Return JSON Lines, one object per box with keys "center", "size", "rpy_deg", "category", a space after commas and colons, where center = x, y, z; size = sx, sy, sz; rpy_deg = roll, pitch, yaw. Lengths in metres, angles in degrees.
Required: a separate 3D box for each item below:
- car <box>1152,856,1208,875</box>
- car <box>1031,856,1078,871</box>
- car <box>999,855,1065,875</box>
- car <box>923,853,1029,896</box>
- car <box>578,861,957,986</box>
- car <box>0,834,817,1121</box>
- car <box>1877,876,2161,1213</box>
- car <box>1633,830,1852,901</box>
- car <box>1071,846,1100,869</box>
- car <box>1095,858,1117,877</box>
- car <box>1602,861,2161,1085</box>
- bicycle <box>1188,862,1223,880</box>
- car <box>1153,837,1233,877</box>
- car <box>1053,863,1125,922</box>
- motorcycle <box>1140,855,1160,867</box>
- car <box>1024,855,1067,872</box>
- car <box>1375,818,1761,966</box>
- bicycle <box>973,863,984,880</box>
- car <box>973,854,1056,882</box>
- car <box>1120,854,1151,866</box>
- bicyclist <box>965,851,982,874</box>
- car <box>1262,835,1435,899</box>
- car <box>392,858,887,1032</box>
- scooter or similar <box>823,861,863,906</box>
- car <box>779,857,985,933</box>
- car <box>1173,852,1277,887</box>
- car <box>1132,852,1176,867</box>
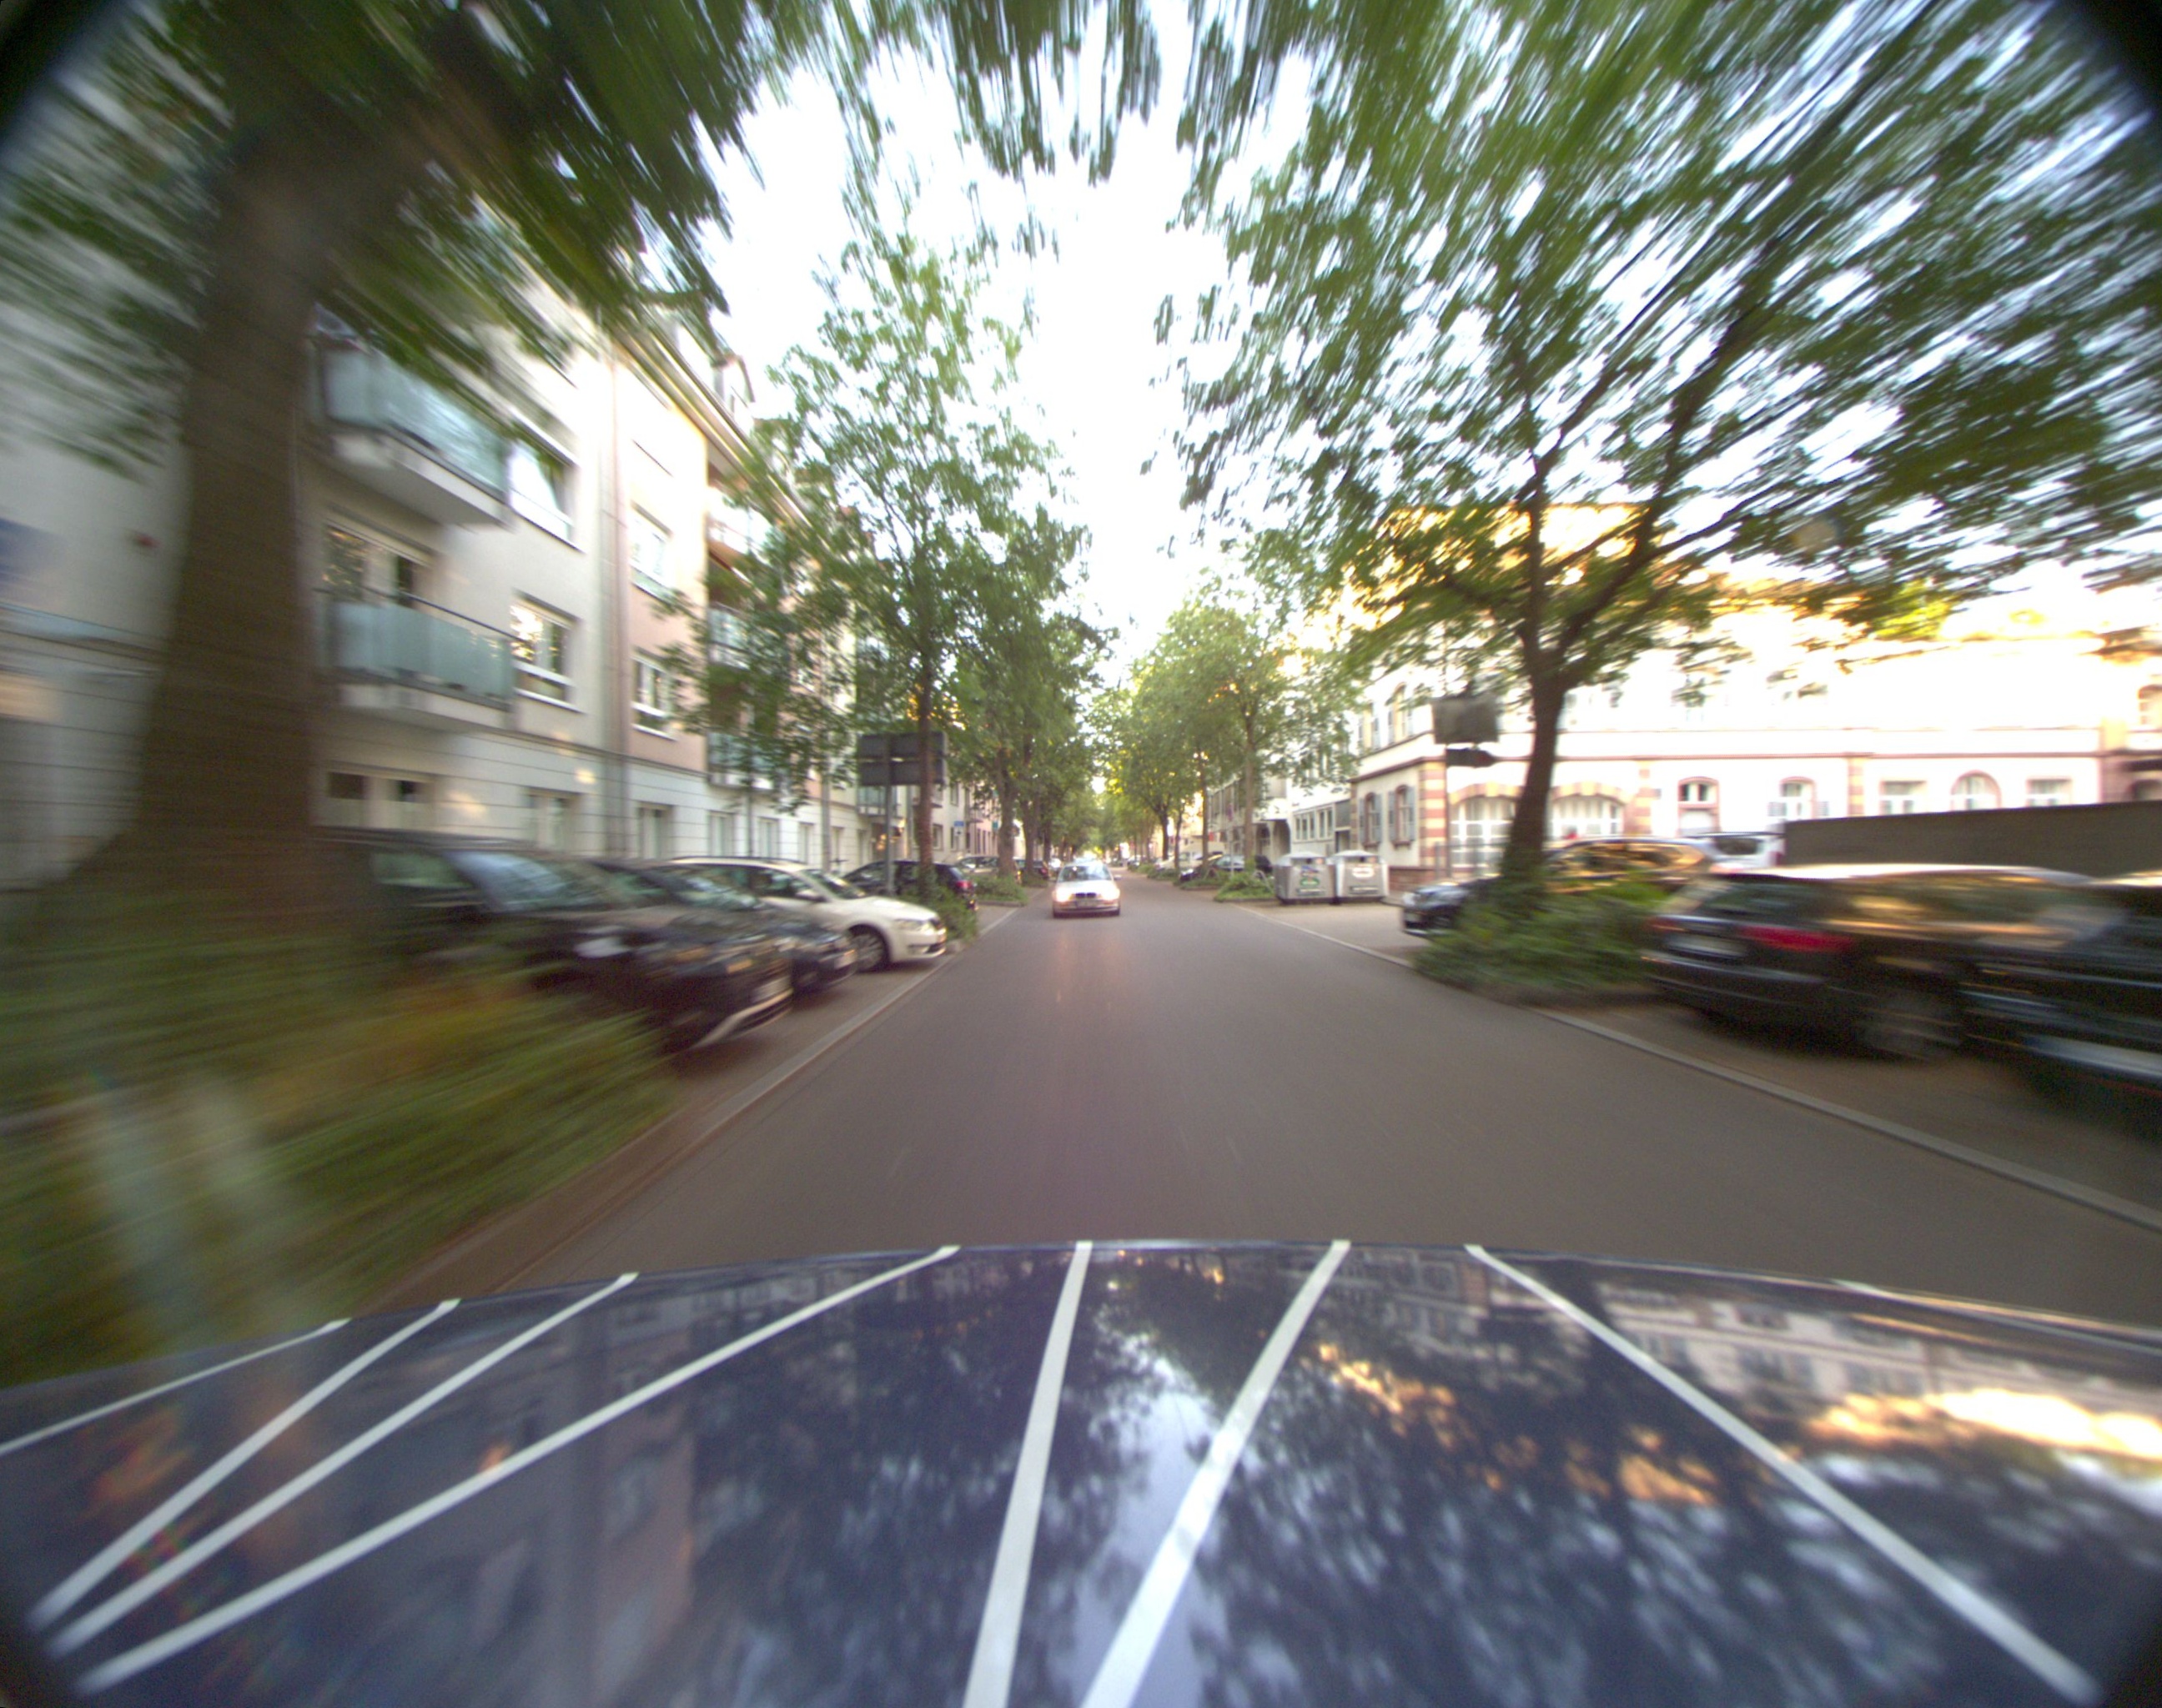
{"center": [7.659, 0.886, 59.038], "size": [4.178, 1.460, 1.953], "rpy_deg": [-1, 0, 1], "category": "car"}
{"center": [-2.778, 1.030, 81.223], "size": [4.886, 1.488, 1.988], "rpy_deg": [-1, 0, 1], "category": "car"}
{"center": [-3.800, 0.873, 59.431], "size": [4.851, 1.439, 2.042], "rpy_deg": [1, 0, 3], "category": "car"}
{"center": [-4.211, 0.796, 30.917], "size": [3.979, 1.576, 1.916], "rpy_deg": [2, 0, 0], "category": "car"}
{"center": [-4.252, 0.919, 10.841], "size": [4.611, 1.459, 1.796], "rpy_deg": [2, 0, 0], "category": "car"}
{"center": [-4.671, 0.780, 5.673], "size": [4.655, 1.608, 2.009], "rpy_deg": [3, 0, -3], "category": "car"}
{"center": [6.923, 0.872, 3.821], "size": [3.997, 1.482, 1.825], "rpy_deg": [-1, 0, -2], "category": "car"}
{"center": [18.362, 0.291, 21.480], "size": [2.002, 1.747, 4.678], "rpy_deg": [-1, 0, -2], "category": "car"}
{"center": [0.379, 0.271, 59.078], "size": [1.892, 1.635, 4.002], "rpy_deg": [-2, 0, 5], "category": "car"}
{"center": [2.602, 1.369, 78.607], "size": [1.998, 1.838, 4.002], "rpy_deg": [-2, 0, 5], "category": "car"}
{"center": [6.909, 0.827, 6.203], "size": [3.997, 1.455, 1.922], "rpy_deg": [-1, 0, -1], "category": "car"}
{"center": [5.934, 0.788, 36.281], "size": [1.556, 0.826, 0.613], "rpy_deg": [-1, 0, 4], "category": "bicycle"}
{"center": [7.438, 0.212, 50.799], "size": [5.016, 2.558, 2.121], "rpy_deg": [-1, 0, 1], "category": "car"}
{"center": [0.134, 0.964, 20.614], "size": [1.737, 1.363, 4.332], "rpy_deg": [-1, 0, -1], "category": "car"}
{"center": [8.698, 0.839, 95.650], "size": [2.234, 1.461, 0.900], "rpy_deg": [-1, 0, -22], "category": "motorcycle"}
{"center": [-3.376, 0.912, 73.253], "size": [4.093, 1.482, 1.798], "rpy_deg": [-1, 0, -2], "category": "car"}
{"center": [7.073, 0.526, 11.420], "size": [4.516, 1.944, 2.000], "rpy_deg": [-1, 0, -1], "category": "car"}
{"center": [-7.164, 1.208, 53.233], "size": [0.622, 1.157, 3.400], "rpy_deg": [-1, 0, -5], "category": "bicycle"}
{"center": [-3.804, 0.784, 44.112], "size": [4.468, 1.419, 2.012], "rpy_deg": [2, 0, 5], "category": "car"}
{"center": [8.212, 0.938, 114.918], "size": [4.601, 1.725, 2.142], "rpy_deg": [-1, 0, 6], "category": "car"}
{"center": [-7.470, 0.604, 52.855], "size": [0.973, 1.595, 1.136], "rpy_deg": [-1, 0, -2], "category": "bicyclist"}
{"center": [7.962, 0.381, 22.945], "size": [4.516, 1.761, 2.000], "rpy_deg": [-1, 0, -1], "category": "car"}
{"center": [-4.522, 0.869, 8.264], "size": [4.233, 1.430, 1.930], "rpy_deg": [3, 0, 3], "category": "car"}
{"center": [-6.725, 0.807, 21.526], "size": [0.656, 1.196, 1.454], "rpy_deg": [2, 0, -2], "category": "scooter or similar"}
{"center": [-4.259, 0.863, 16.866], "size": [4.095, 1.443, 1.934], "rpy_deg": [2, 0, -5], "category": "car"}
{"center": [7.211, 0.764, 38.389], "size": [4.864, 1.612, 2.160], "rpy_deg": [-1, 0, 2], "category": "car"}
{"center": [7.656, 0.563, 79.917], "size": [4.520, 1.517, 1.872], "rpy_deg": [-1, 0, 0], "category": "car"}
